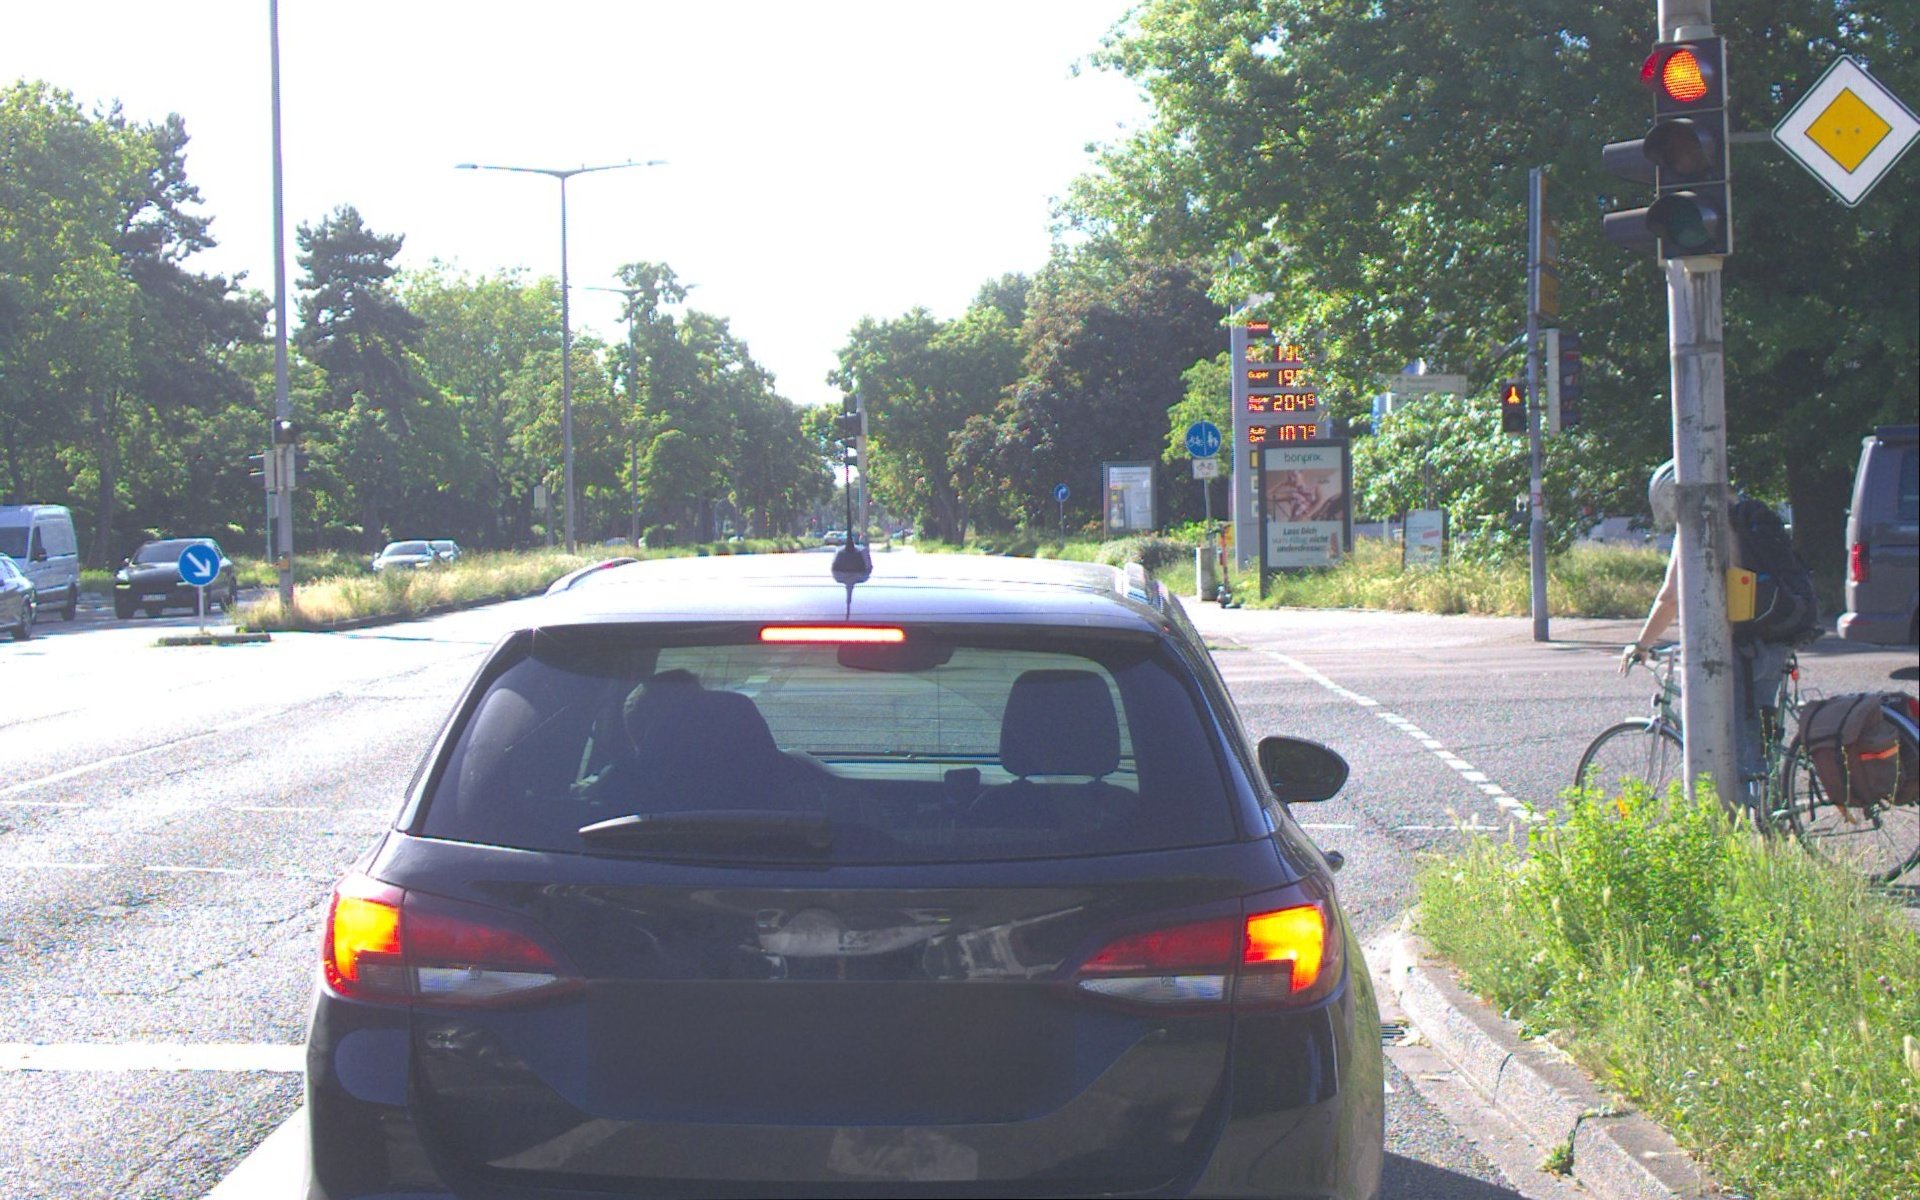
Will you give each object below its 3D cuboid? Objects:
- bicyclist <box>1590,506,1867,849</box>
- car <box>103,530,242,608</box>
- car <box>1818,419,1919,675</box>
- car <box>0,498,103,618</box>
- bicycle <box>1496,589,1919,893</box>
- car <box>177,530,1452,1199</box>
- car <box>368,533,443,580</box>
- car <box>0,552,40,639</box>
[{"bbox_3d":[2.978,0.301,13.338,0.536,1.272,0.829,-3,0,-44],"label":"bicyclist"},{"bbox_3d":[-17.149,-0.712,75.087,1.993,1.596,4.616,-1,1,-1],"label":"car"},{"bbox_3d":[9.440,-0.474,27.167,5.003,1.985,1.916,-1,1,18],"label":"car"},{"bbox_3d":[-20.369,-0.915,74.442,2.100,2.484,6.004,-2,1,-1],"label":"car"},{"bbox_3d":[2.986,0.542,13.340,0.536,1.094,1.775,-3,0,-44],"label":"bicycle"},{"bbox_3d":[-0.226,0.627,6.853,1.756,1.490,4.207,0,1,-1],"label":"car"},{"bbox_3d":[-17.937,-1.430,111.395,1.776,1.458,4.165,-1,1,-1],"label":"car"},{"bbox_3d":[-16.792,-0.054,57.325,1.686,1.428,4.615,-2,1,-1],"label":"car"}]
